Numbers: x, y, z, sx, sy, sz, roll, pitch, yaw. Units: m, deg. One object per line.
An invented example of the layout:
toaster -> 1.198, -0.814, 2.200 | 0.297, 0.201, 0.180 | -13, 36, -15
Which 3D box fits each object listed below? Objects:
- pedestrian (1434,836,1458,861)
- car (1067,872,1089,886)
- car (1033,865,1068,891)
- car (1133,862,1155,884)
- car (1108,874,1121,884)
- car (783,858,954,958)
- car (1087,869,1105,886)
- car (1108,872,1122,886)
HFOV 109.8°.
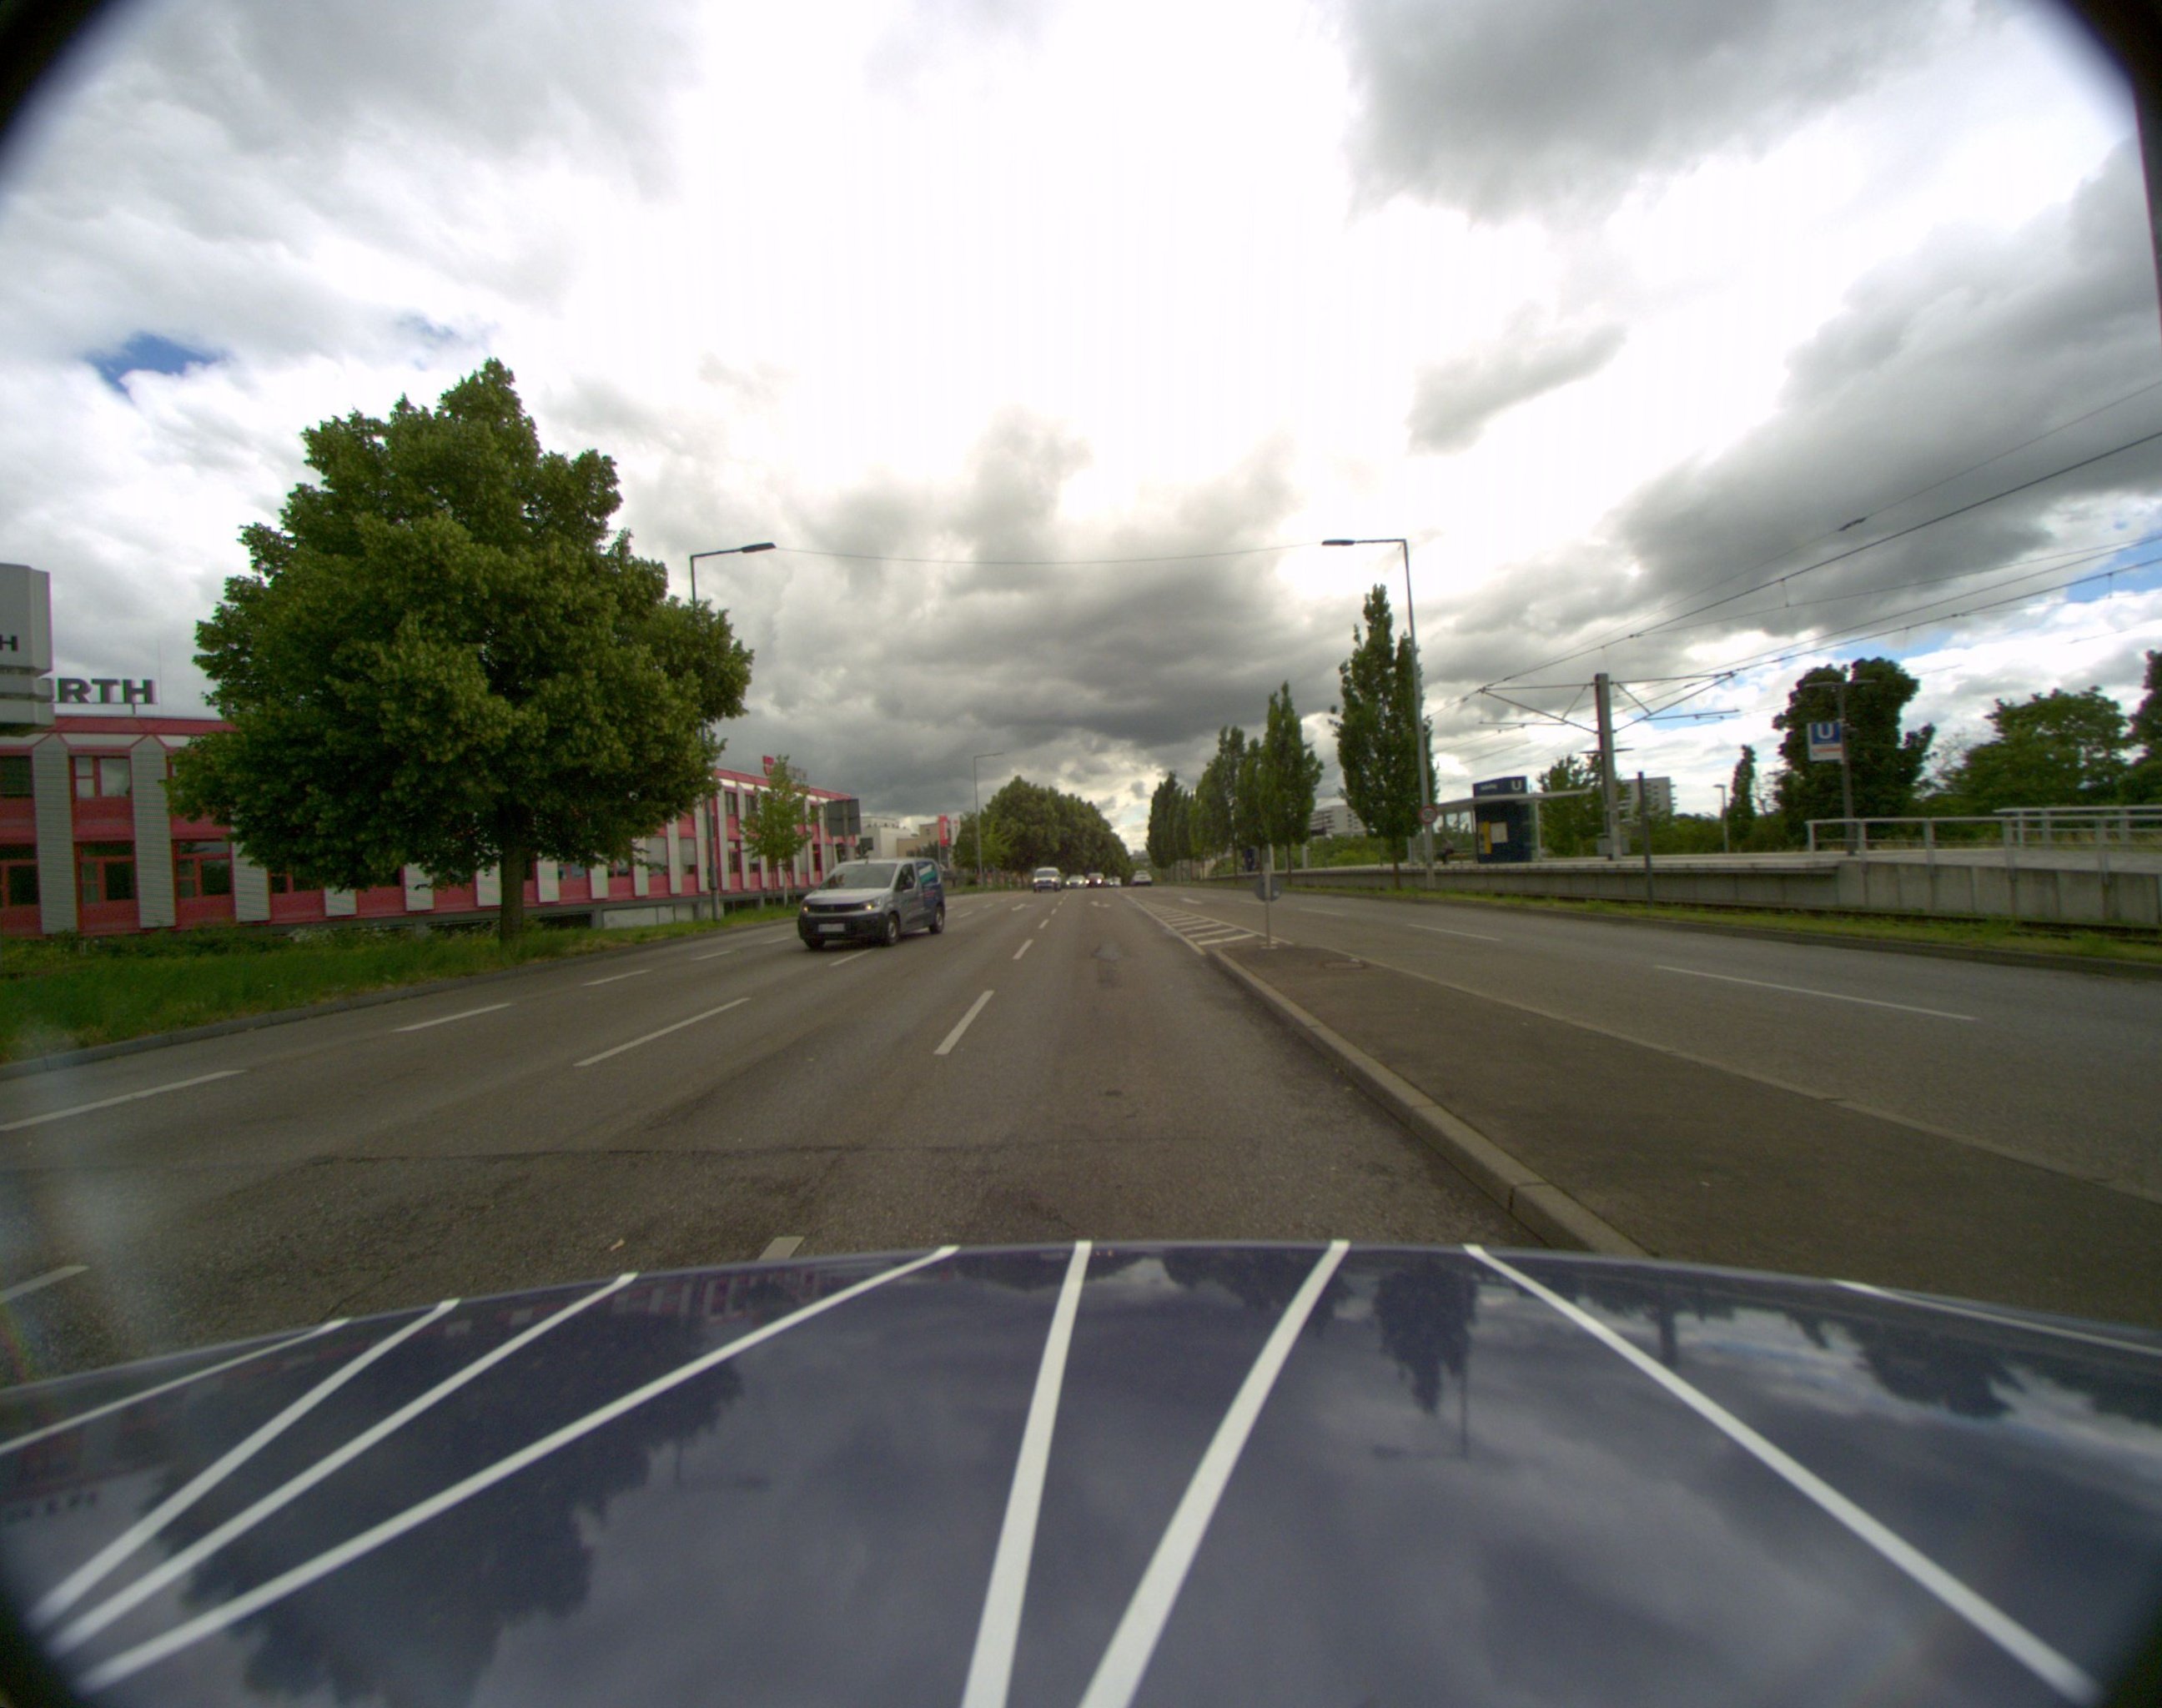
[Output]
pedestrian -> 17.728, -0.258, 36.894 | 0.751, 1.169, 0.837 | -2, 1, 0
car -> -0.266, 2.595, 79.761 | 1.812, 1.332, 4.227 | -2, -3, 6
car -> -2.195, 1.756, 56.394 | 1.812, 1.781, 4.699 | -2, -1, 6
car -> 6.291, 1.861, 76.242 | 1.998, 2.002, 4.001 | -2, 0, 3
car -> 4.778, 3.605, 109.682 | 1.813, 1.332, 4.225 | -2, -3, 2
car -> -4.323, 1.035, 16.261 | 1.812, 1.769, 4.225 | -2, 0, 10
car -> 1.901, 3.046, 97.748 | 2.184, 1.893, 4.456 | -2, -3, -1
car -> 5.345, 3.906, 118.336 | 1.949, 1.895, 5.238 | -2, 0, 4
